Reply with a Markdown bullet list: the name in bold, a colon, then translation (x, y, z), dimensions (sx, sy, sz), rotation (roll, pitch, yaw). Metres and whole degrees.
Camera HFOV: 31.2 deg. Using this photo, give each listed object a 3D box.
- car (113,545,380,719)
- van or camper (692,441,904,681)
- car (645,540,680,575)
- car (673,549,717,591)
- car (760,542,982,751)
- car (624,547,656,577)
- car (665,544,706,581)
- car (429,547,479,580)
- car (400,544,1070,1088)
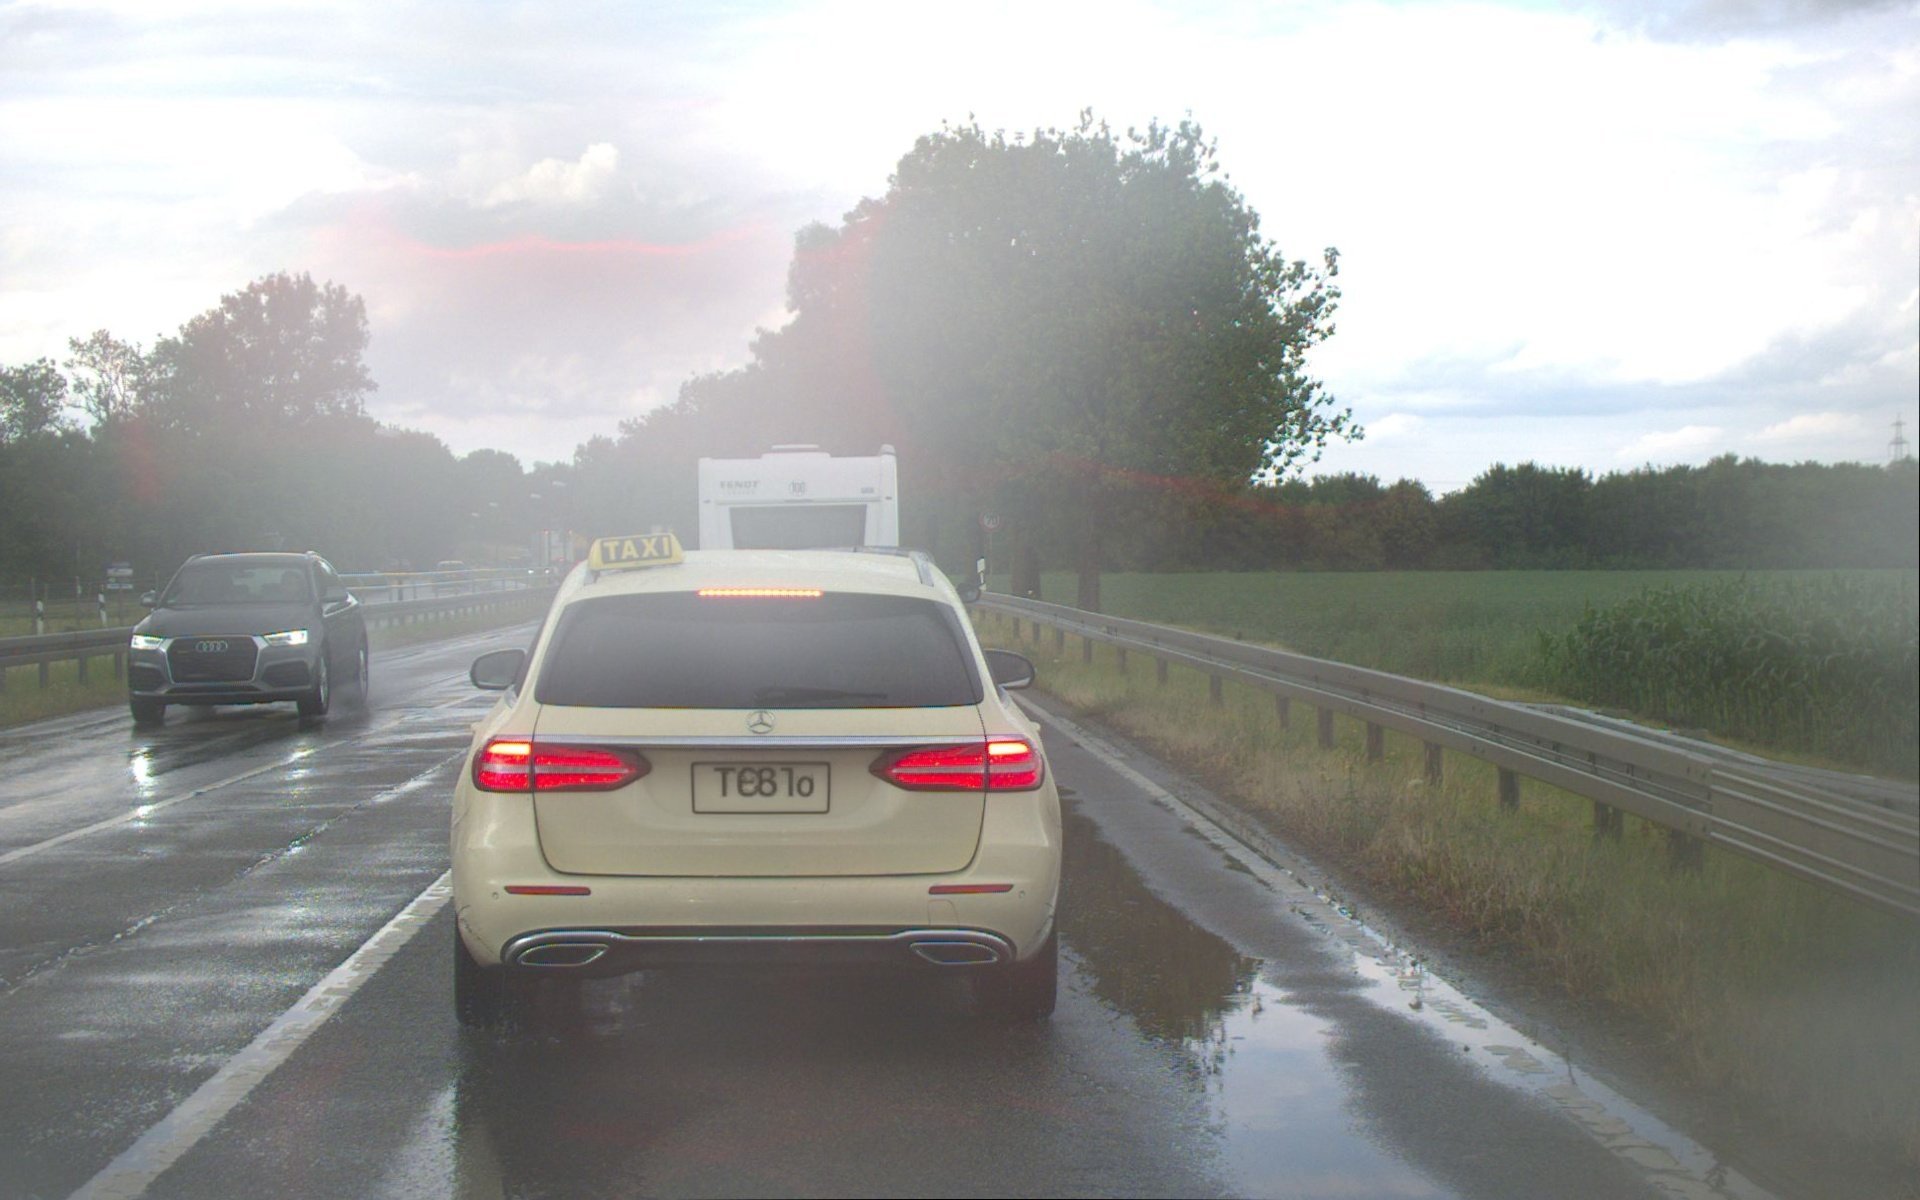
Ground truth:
- **car**: translation (-6.850, 0.255, 33.395), dimensions (1.769, 1.518, 4.141), rotation (-2, 1, -1)
- **van or camper**: translation (-1.908, -0.500, 41.378), dimensions (2.350, 2.671, 5.769), rotation (0, 1, -2)
- **car**: translation (-17.405, -2.475, 201.016), dimensions (1.993, 2.007, 4.001), rotation (0, 1, -4)
- **car**: translation (-12.902, -1.457, 167.111), dimensions (1.993, 2.007, 4.001), rotation (0, 1, -6)
- **car**: translation (-0.726, 0.313, 27.430), dimensions (1.627, 1.524, 3.933), rotation (-1, 1, -2)
- **car**: translation (-21.974, -2.618, 235.973), dimensions (1.993, 2.007, 4.001), rotation (0, 1, -7)
- **car**: translation (-15.118, -2.066, 189.340), dimensions (1.993, 2.044, 4.000), rotation (0, 1, -1)
- **car**: translation (-25.778, -1.870, 175.110), dimensions (1.993, 1.645, 4.000), rotation (0, 1, -1)
- **car**: translation (-0.652, 0.566, 11.526), dimensions (1.825, 1.480, 4.145), rotation (1, 1, -1)
